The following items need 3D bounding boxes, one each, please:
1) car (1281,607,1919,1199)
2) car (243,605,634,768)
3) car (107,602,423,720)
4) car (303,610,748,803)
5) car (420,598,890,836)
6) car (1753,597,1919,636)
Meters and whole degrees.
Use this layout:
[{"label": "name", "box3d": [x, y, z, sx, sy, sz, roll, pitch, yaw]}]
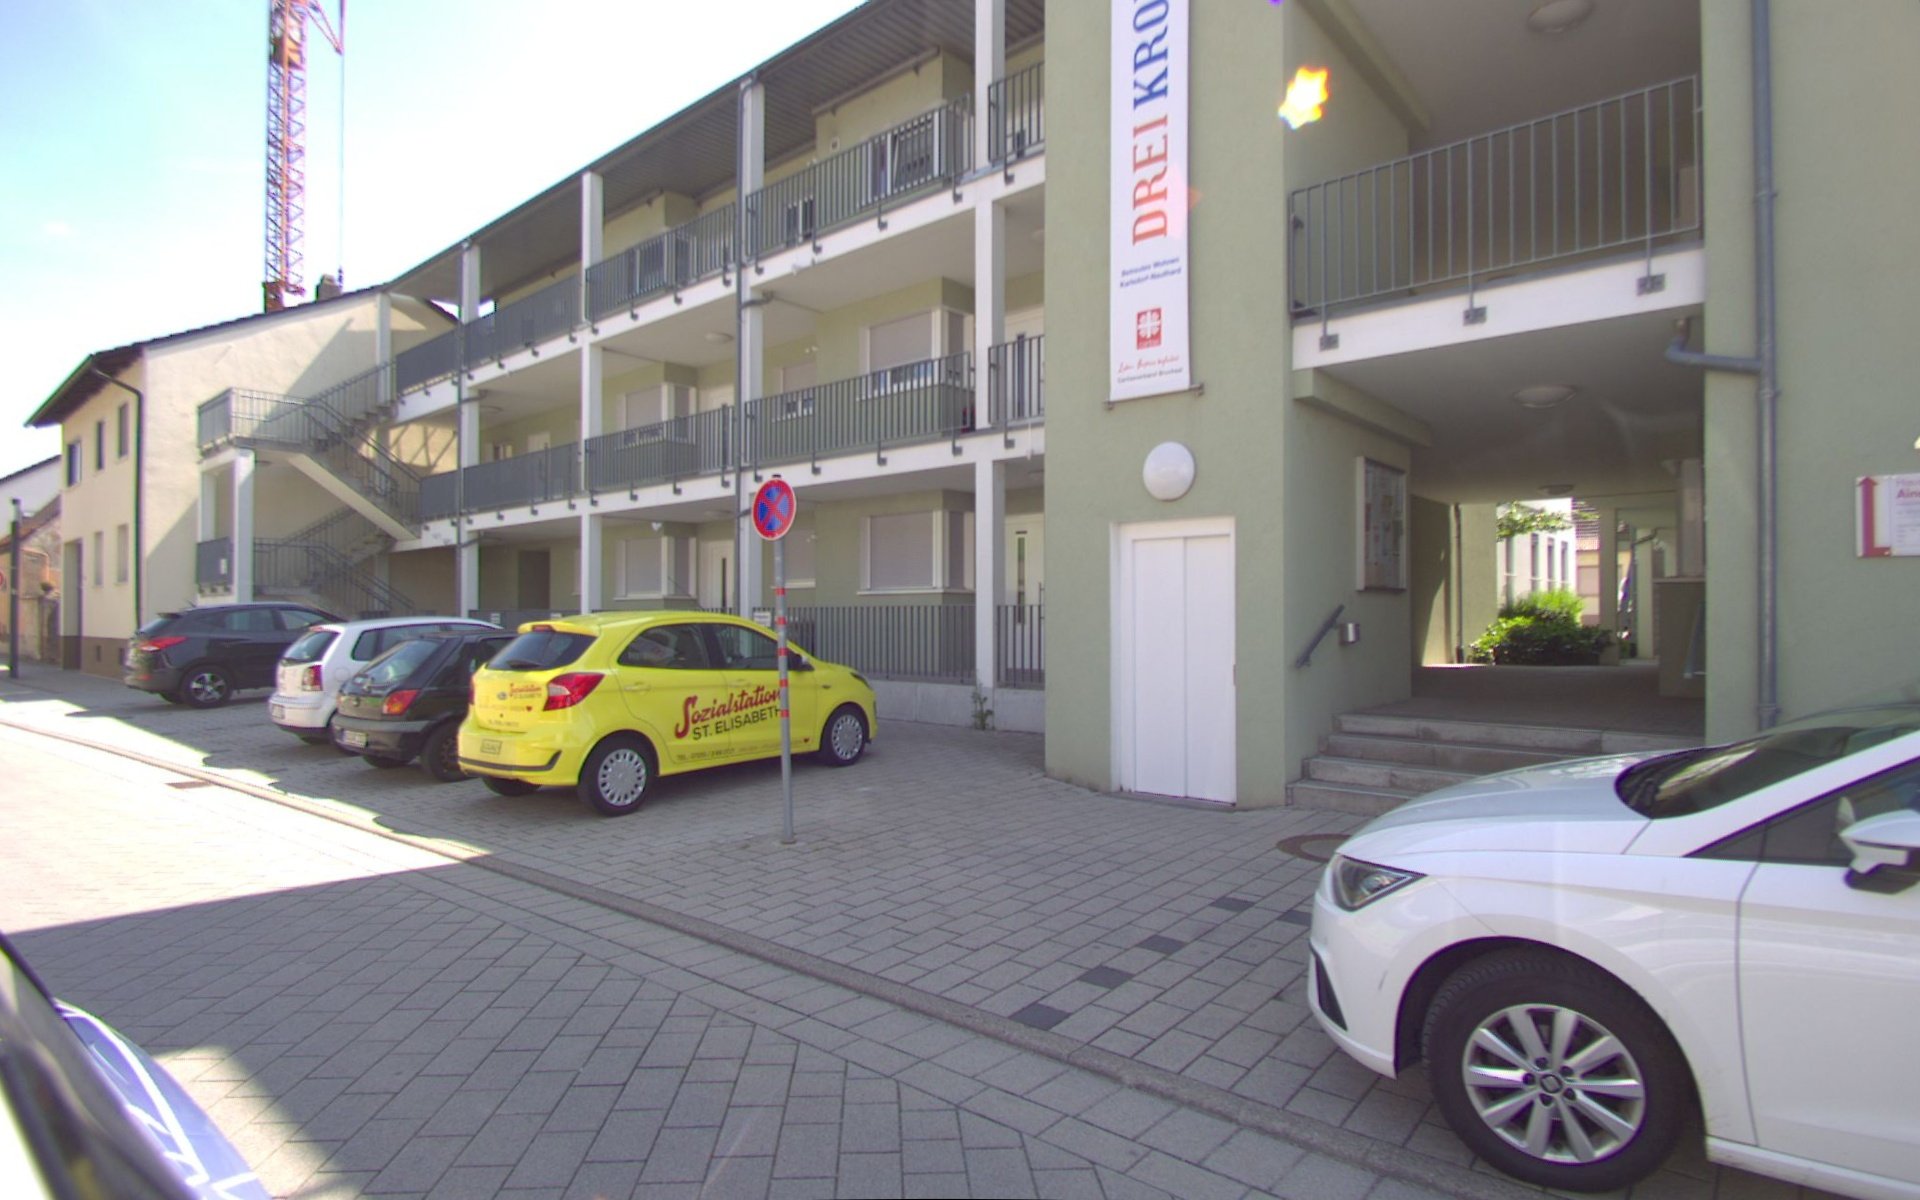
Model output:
[{"label": "car", "box3d": [2.977, 0.739, 2.323, 3.876, 1.421, 1.739, -2, 0, 41]}, {"label": "car", "box3d": [-6.217, 0.910, 12.386, 1.750, 1.514, 3.859, -1, 1, 42]}, {"label": "car", "box3d": [-11.851, 0.943, 17.477, 1.784, 1.671, 4.175, -1, 1, 41]}, {"label": "car", "box3d": [-4.372, 0.935, 10.665, 1.690, 1.452, 3.946, -1, 1, 41]}, {"label": "car", "box3d": [-2.469, 0.816, 8.924, 1.670, 1.536, 3.658, -1, 1, 37]}, {"label": "car", "box3d": [28.100, 0.522, 32.550, 3.998, 1.165, 1.607, -1, 0, 41]}]
